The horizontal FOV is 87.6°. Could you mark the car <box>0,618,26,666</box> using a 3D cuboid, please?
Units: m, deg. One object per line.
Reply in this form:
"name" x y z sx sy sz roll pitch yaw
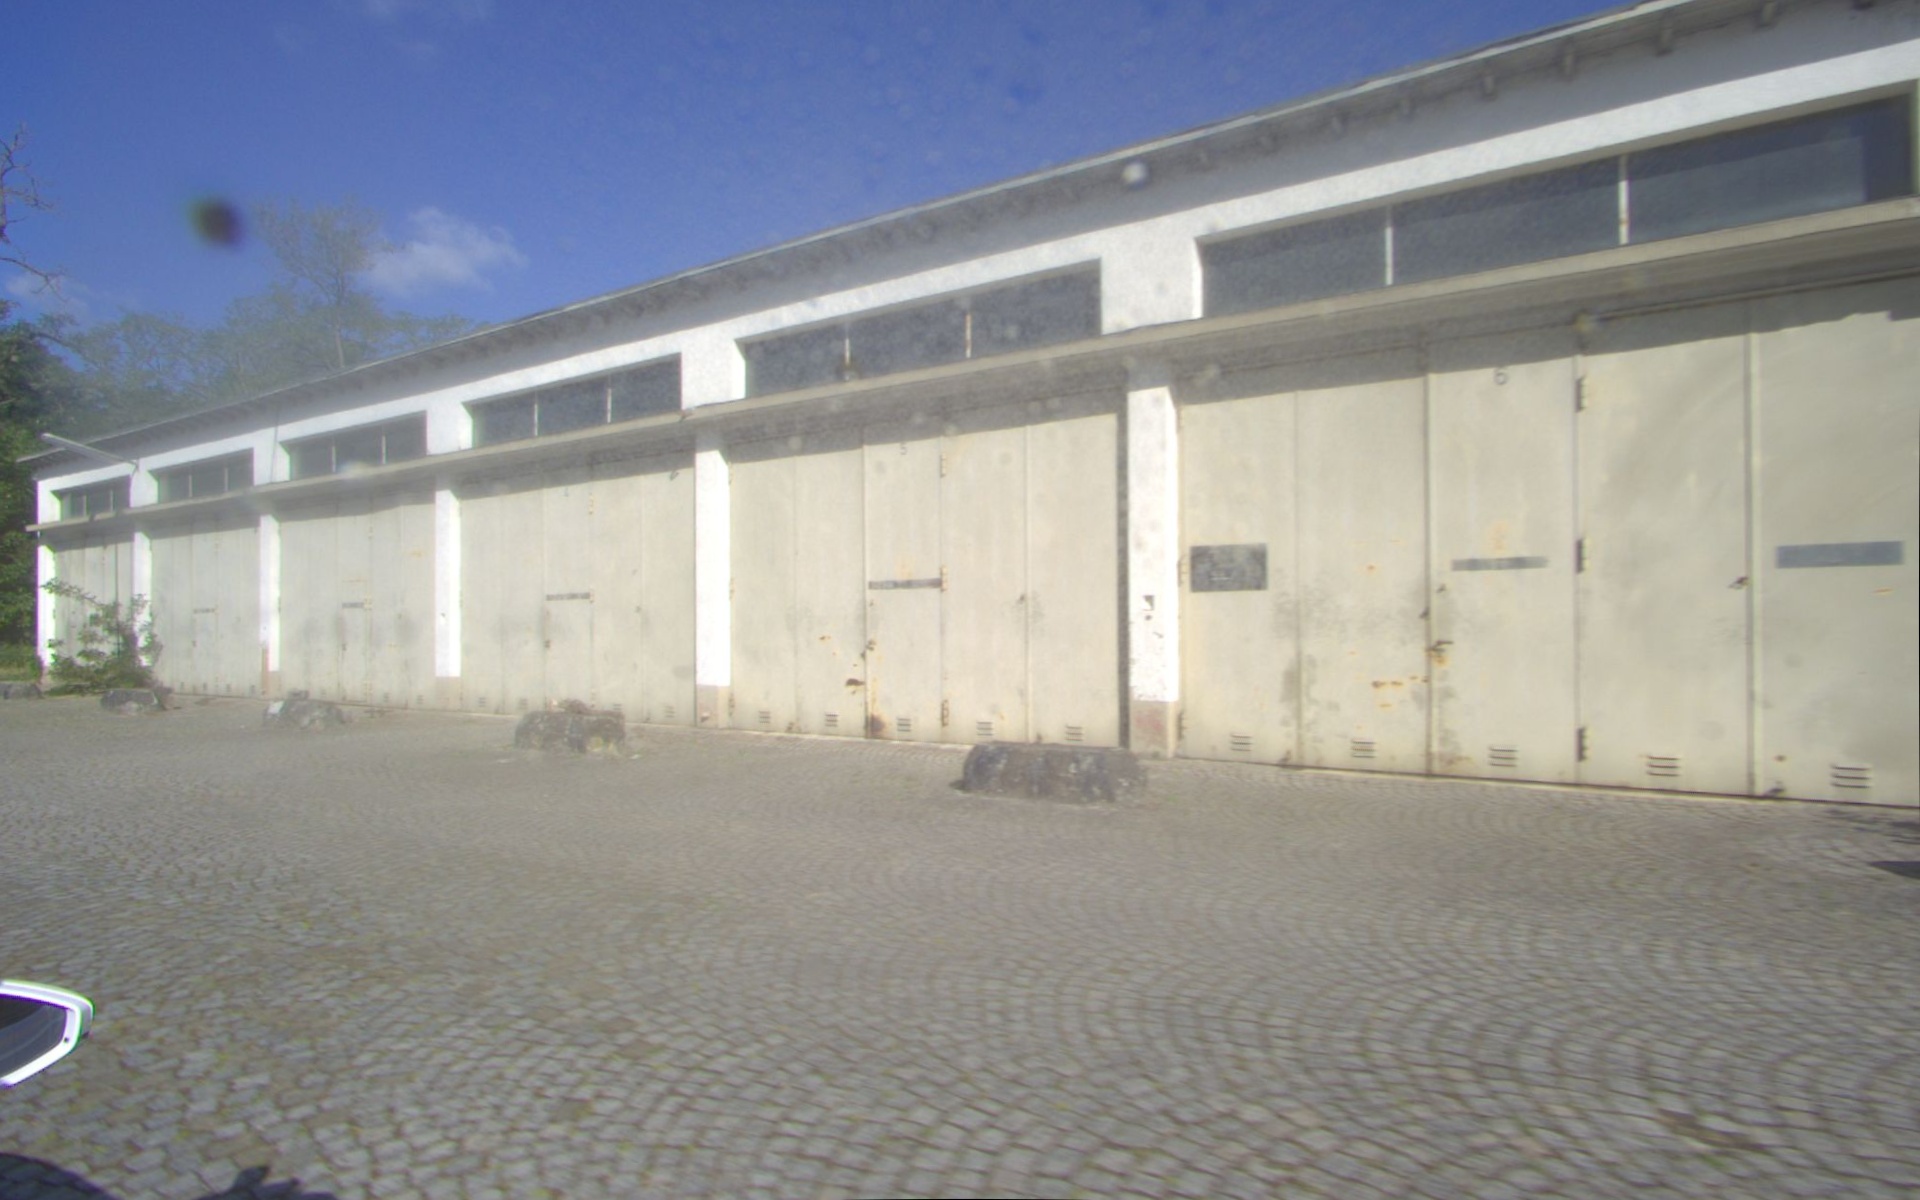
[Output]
"car" -37.033 1.519 37.580 4.211 1.652 1.871 2 -1 33
